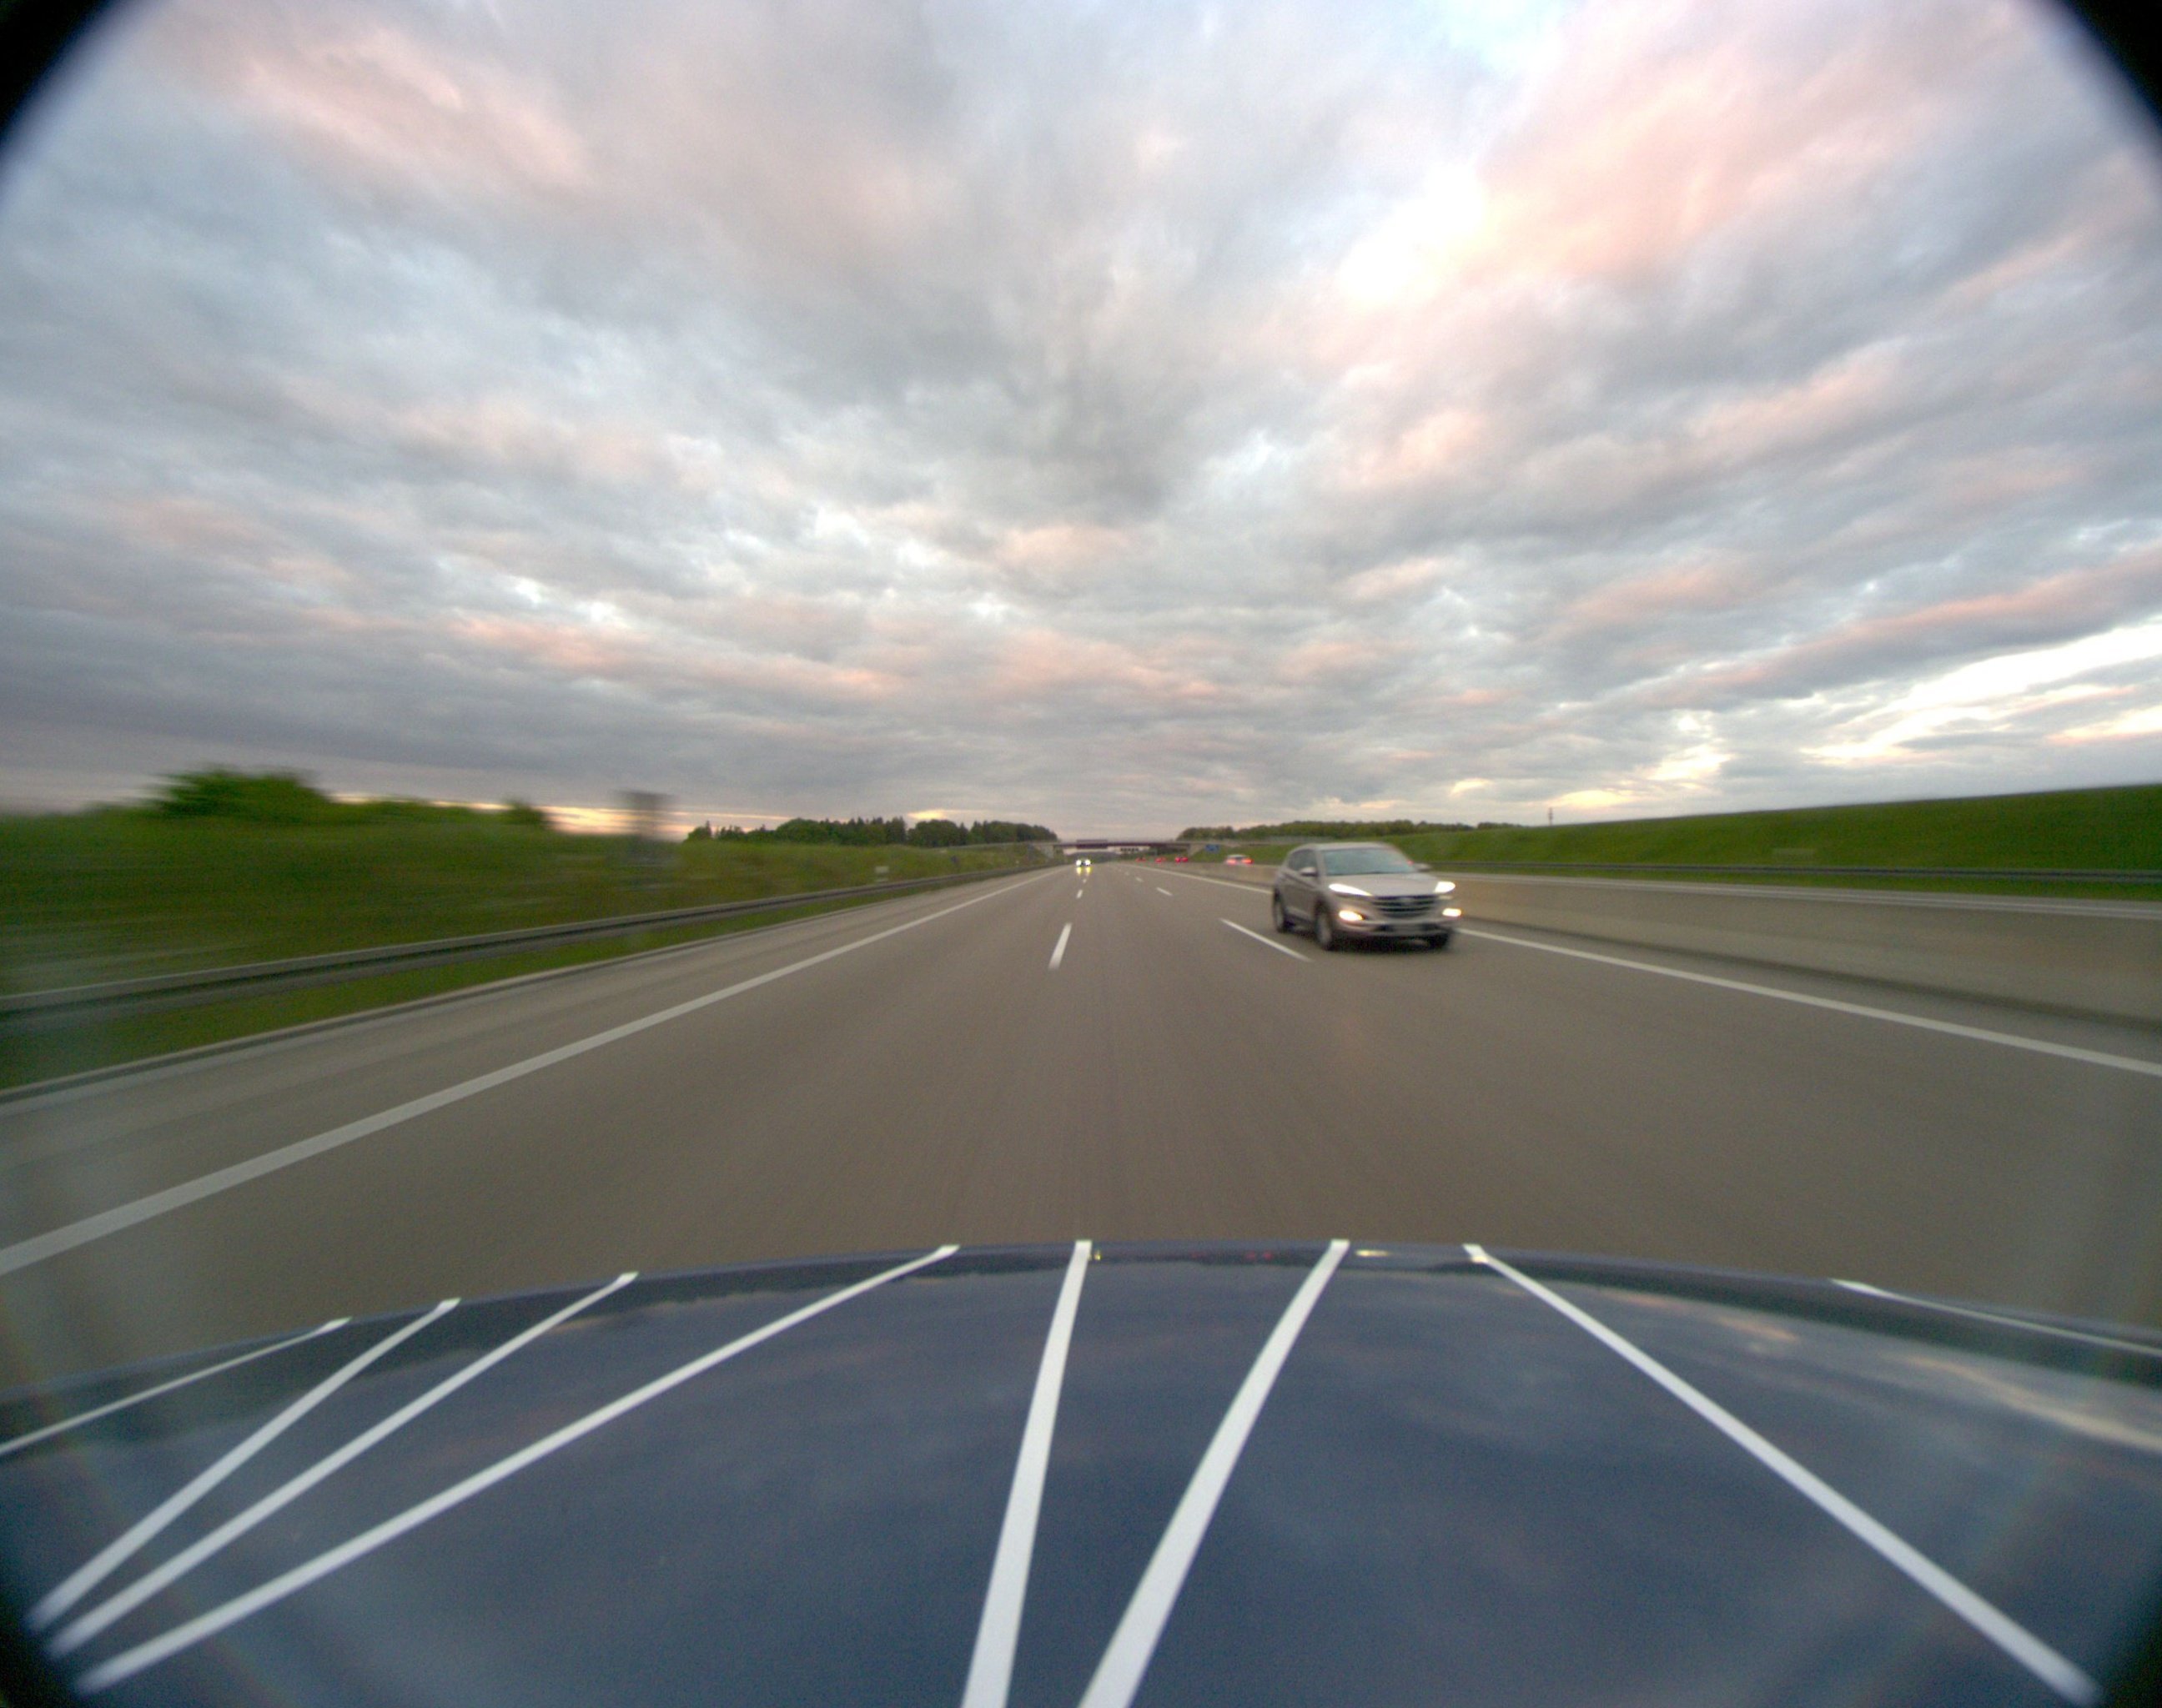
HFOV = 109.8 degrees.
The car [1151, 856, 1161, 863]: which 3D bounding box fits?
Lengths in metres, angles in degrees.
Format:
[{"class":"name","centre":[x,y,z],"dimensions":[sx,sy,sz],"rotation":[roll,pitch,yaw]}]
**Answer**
[{"class":"car","centre":[15.521,1.157,157.971],"dimensions":[1.743,1.490,4.131],"rotation":[-1,0,0]}]

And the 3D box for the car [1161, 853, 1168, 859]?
[{"class":"car","centre":[25.468,0.617,231.036],"dimensions":[1.634,1.508,4.427],"rotation":[-2,0,1]}]

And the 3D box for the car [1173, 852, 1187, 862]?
[{"class":"car","centre":[19.263,0.611,148.393],"dimensions":[2.104,1.800,5.022],"rotation":[-1,0,1]}]

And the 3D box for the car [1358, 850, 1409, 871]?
[{"class":"car","centre":[20.702,0.444,52.162],"dimensions":[1.743,1.384,4.343],"rotation":[-1,0,0]}]

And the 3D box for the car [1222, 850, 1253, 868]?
[{"class":"car","centre":[15.474,0.504,75.214],"dimensions":[1.998,1.725,5.182],"rotation":[-1,0,0]}]

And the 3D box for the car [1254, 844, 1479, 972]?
[{"class":"car","centre":[4.490,0.729,13.027],"dimensions":[1.857,1.682,5.512],"rotation":[-1,0,1]}]

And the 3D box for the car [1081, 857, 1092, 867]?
[{"class":"car","centre":[0.904,1.367,130.674],"dimensions":[1.801,1.674,4.385],"rotation":[-1,0,1]}]

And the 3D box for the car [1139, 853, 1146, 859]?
[{"class":"car","centre":[21.225,0.541,263.175],"dimensions":[2.008,2.002,5.737],"rotation":[-1,0,1]}]
